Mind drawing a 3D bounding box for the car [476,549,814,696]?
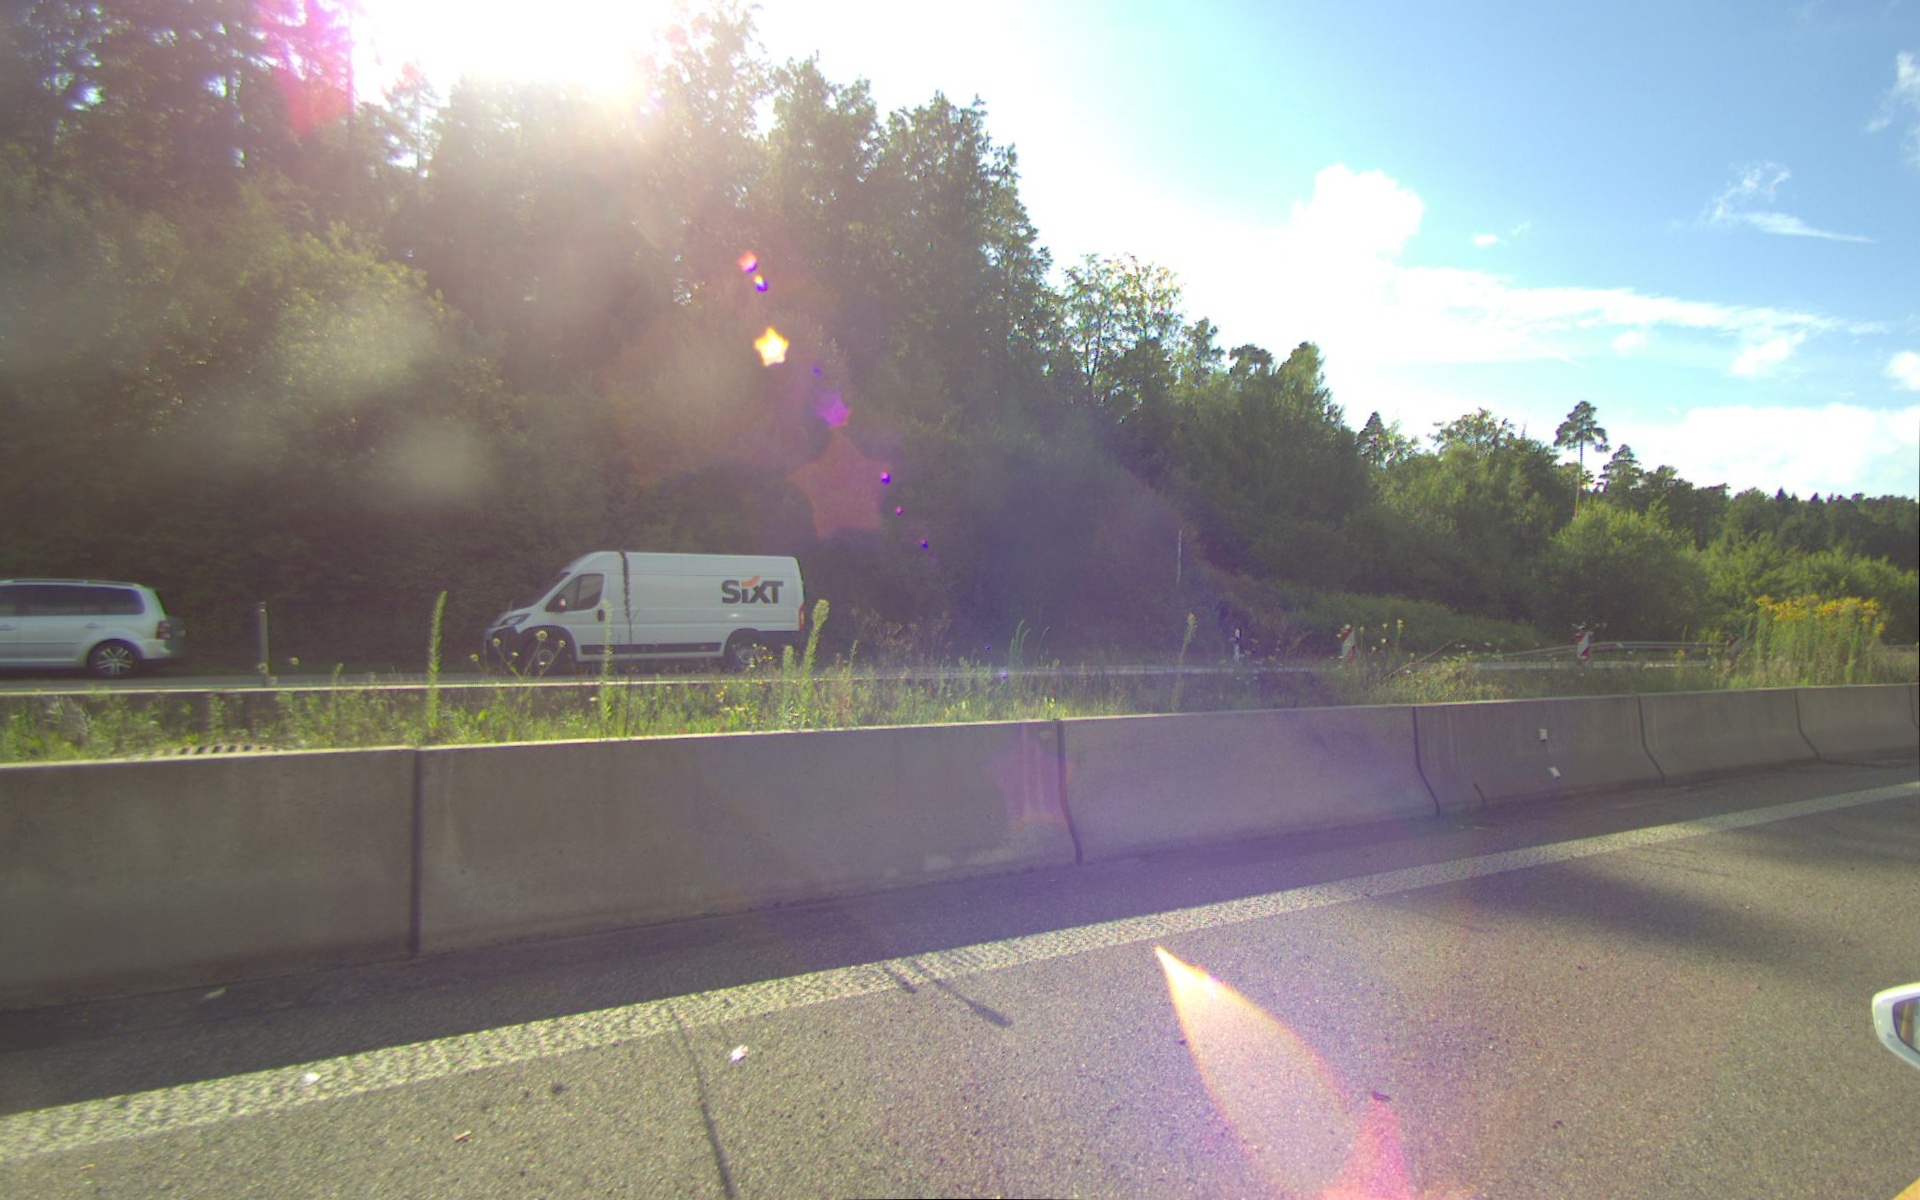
[{"bbox_3d":[-6.496,0.515,21.122,6.447,2.720,2.018,2,-1,-31],"label":"car"}]

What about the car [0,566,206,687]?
[{"bbox_3d":[-15.454,0.410,16.460,4.706,1.878,1.851,2,-1,-31],"label":"car"}]
